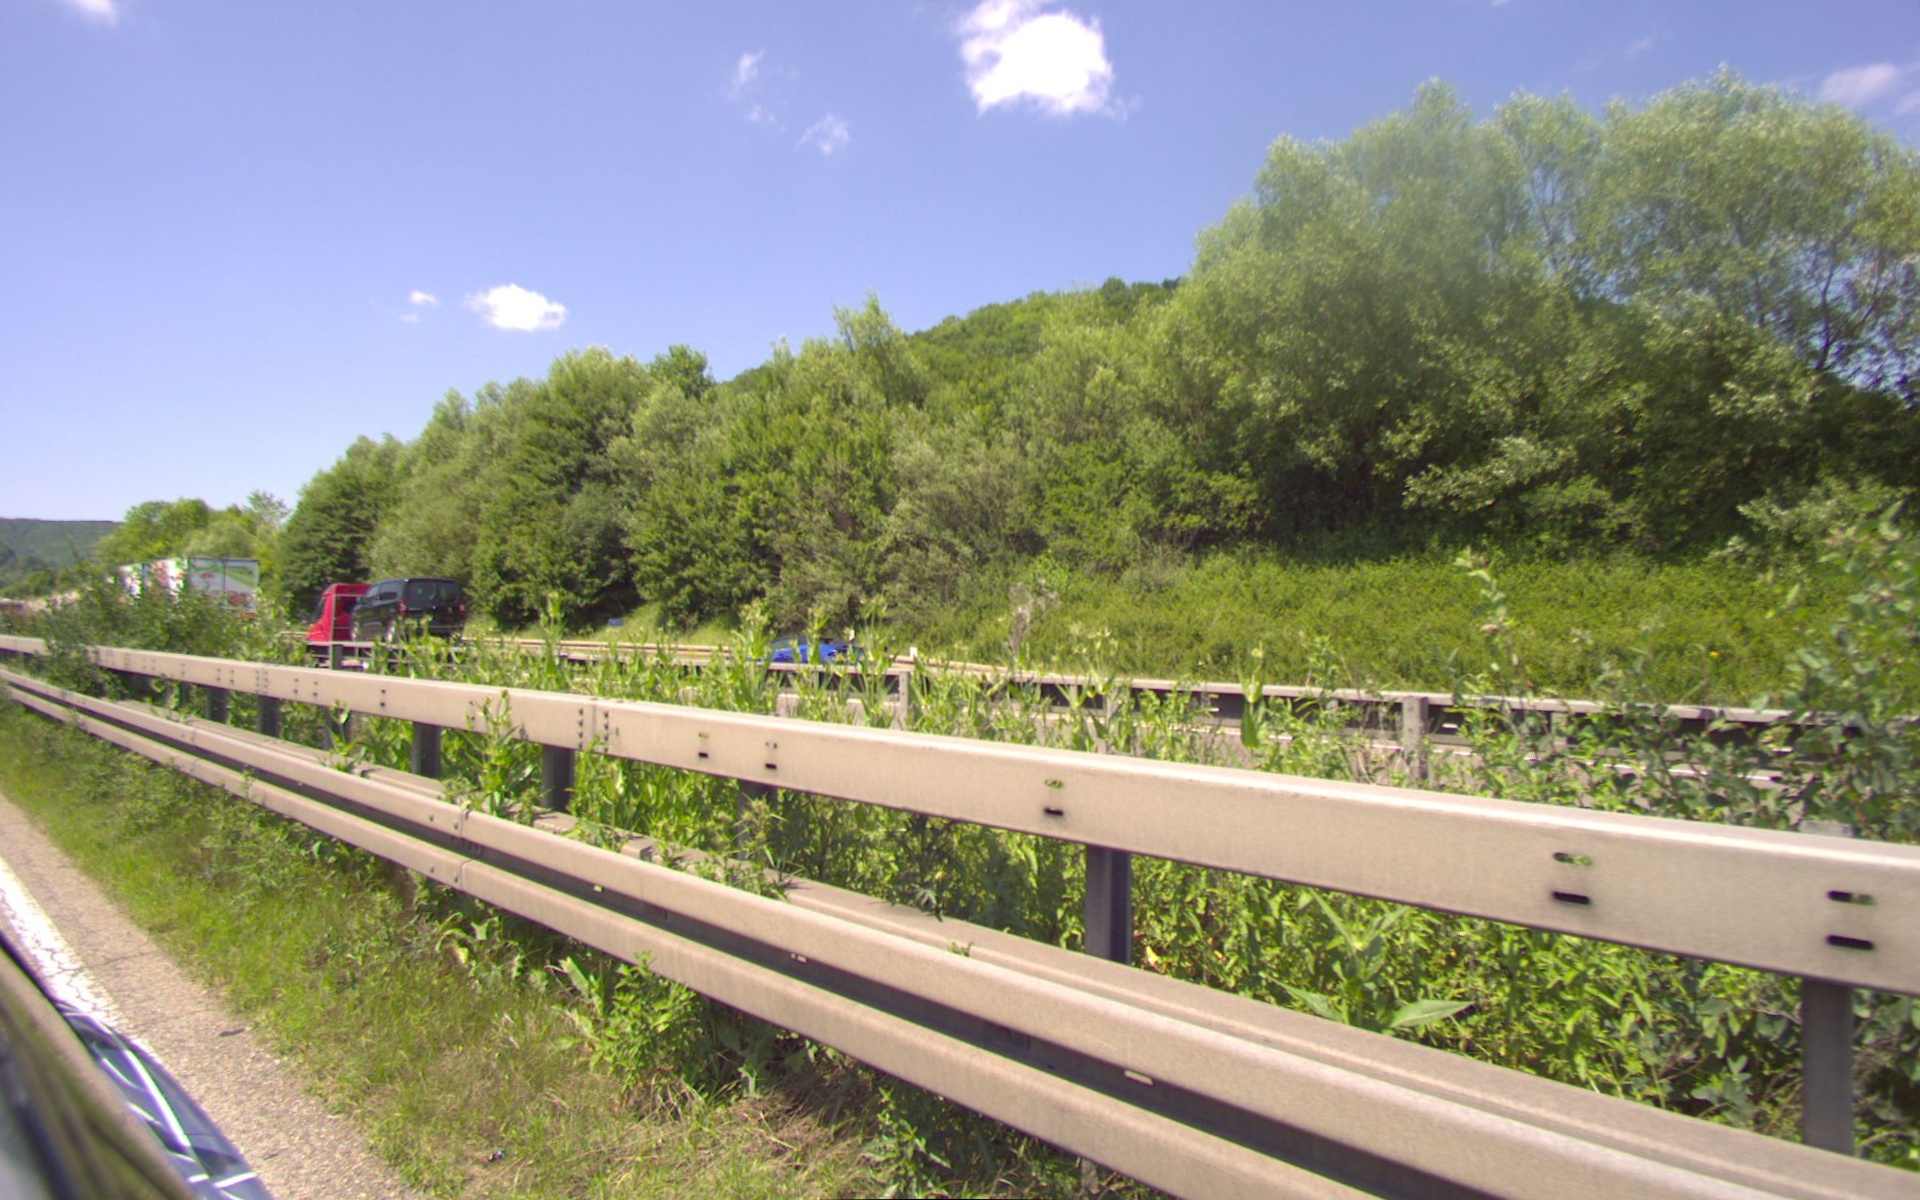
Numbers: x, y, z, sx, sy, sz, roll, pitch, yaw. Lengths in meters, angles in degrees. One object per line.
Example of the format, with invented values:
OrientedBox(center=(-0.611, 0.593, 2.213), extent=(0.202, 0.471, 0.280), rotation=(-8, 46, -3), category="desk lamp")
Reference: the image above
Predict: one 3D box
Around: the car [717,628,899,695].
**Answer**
OrientedBox(center=(-3.592, 1.371, 23.553), extent=(4.103, 1.366, 1.974), rotation=(-1, -1, 39), category="car")

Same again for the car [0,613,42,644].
OrientedBox(center=(-53.620, 1.604, 57.261), extent=(5.029, 1.653, 1.973), rotation=(-1, -1, 41), category="car")

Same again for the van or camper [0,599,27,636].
OrientedBox(center=(-88.659, 1.642, 93.665), extent=(7.643, 3.361, 2.563), rotation=(-1, -2, 41), category="van or camper")

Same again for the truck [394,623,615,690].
OrientedBox(center=(-11.085, 1.255, 24.257), extent=(7.007, 1.344, 2.186), rotation=(-1, -1, 42), category="truck")

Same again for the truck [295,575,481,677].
OrientedBox(center=(-16.696, 0.718, 29.260), extent=(7.965, 2.608, 2.272), rotation=(-1, -1, 42), category="truck")

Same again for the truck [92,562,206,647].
OrientedBox(center=(-42.071, 0.278, 52.348), extent=(10.165, 4.036, 2.840), rotation=(-1, -1, 41), category="truck")

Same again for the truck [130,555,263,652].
OrientedBox(center=(-34.794, 0.249, 45.962), extent=(9.026, 4.011, 2.839), rotation=(-1, -3, 41), category="truck")
